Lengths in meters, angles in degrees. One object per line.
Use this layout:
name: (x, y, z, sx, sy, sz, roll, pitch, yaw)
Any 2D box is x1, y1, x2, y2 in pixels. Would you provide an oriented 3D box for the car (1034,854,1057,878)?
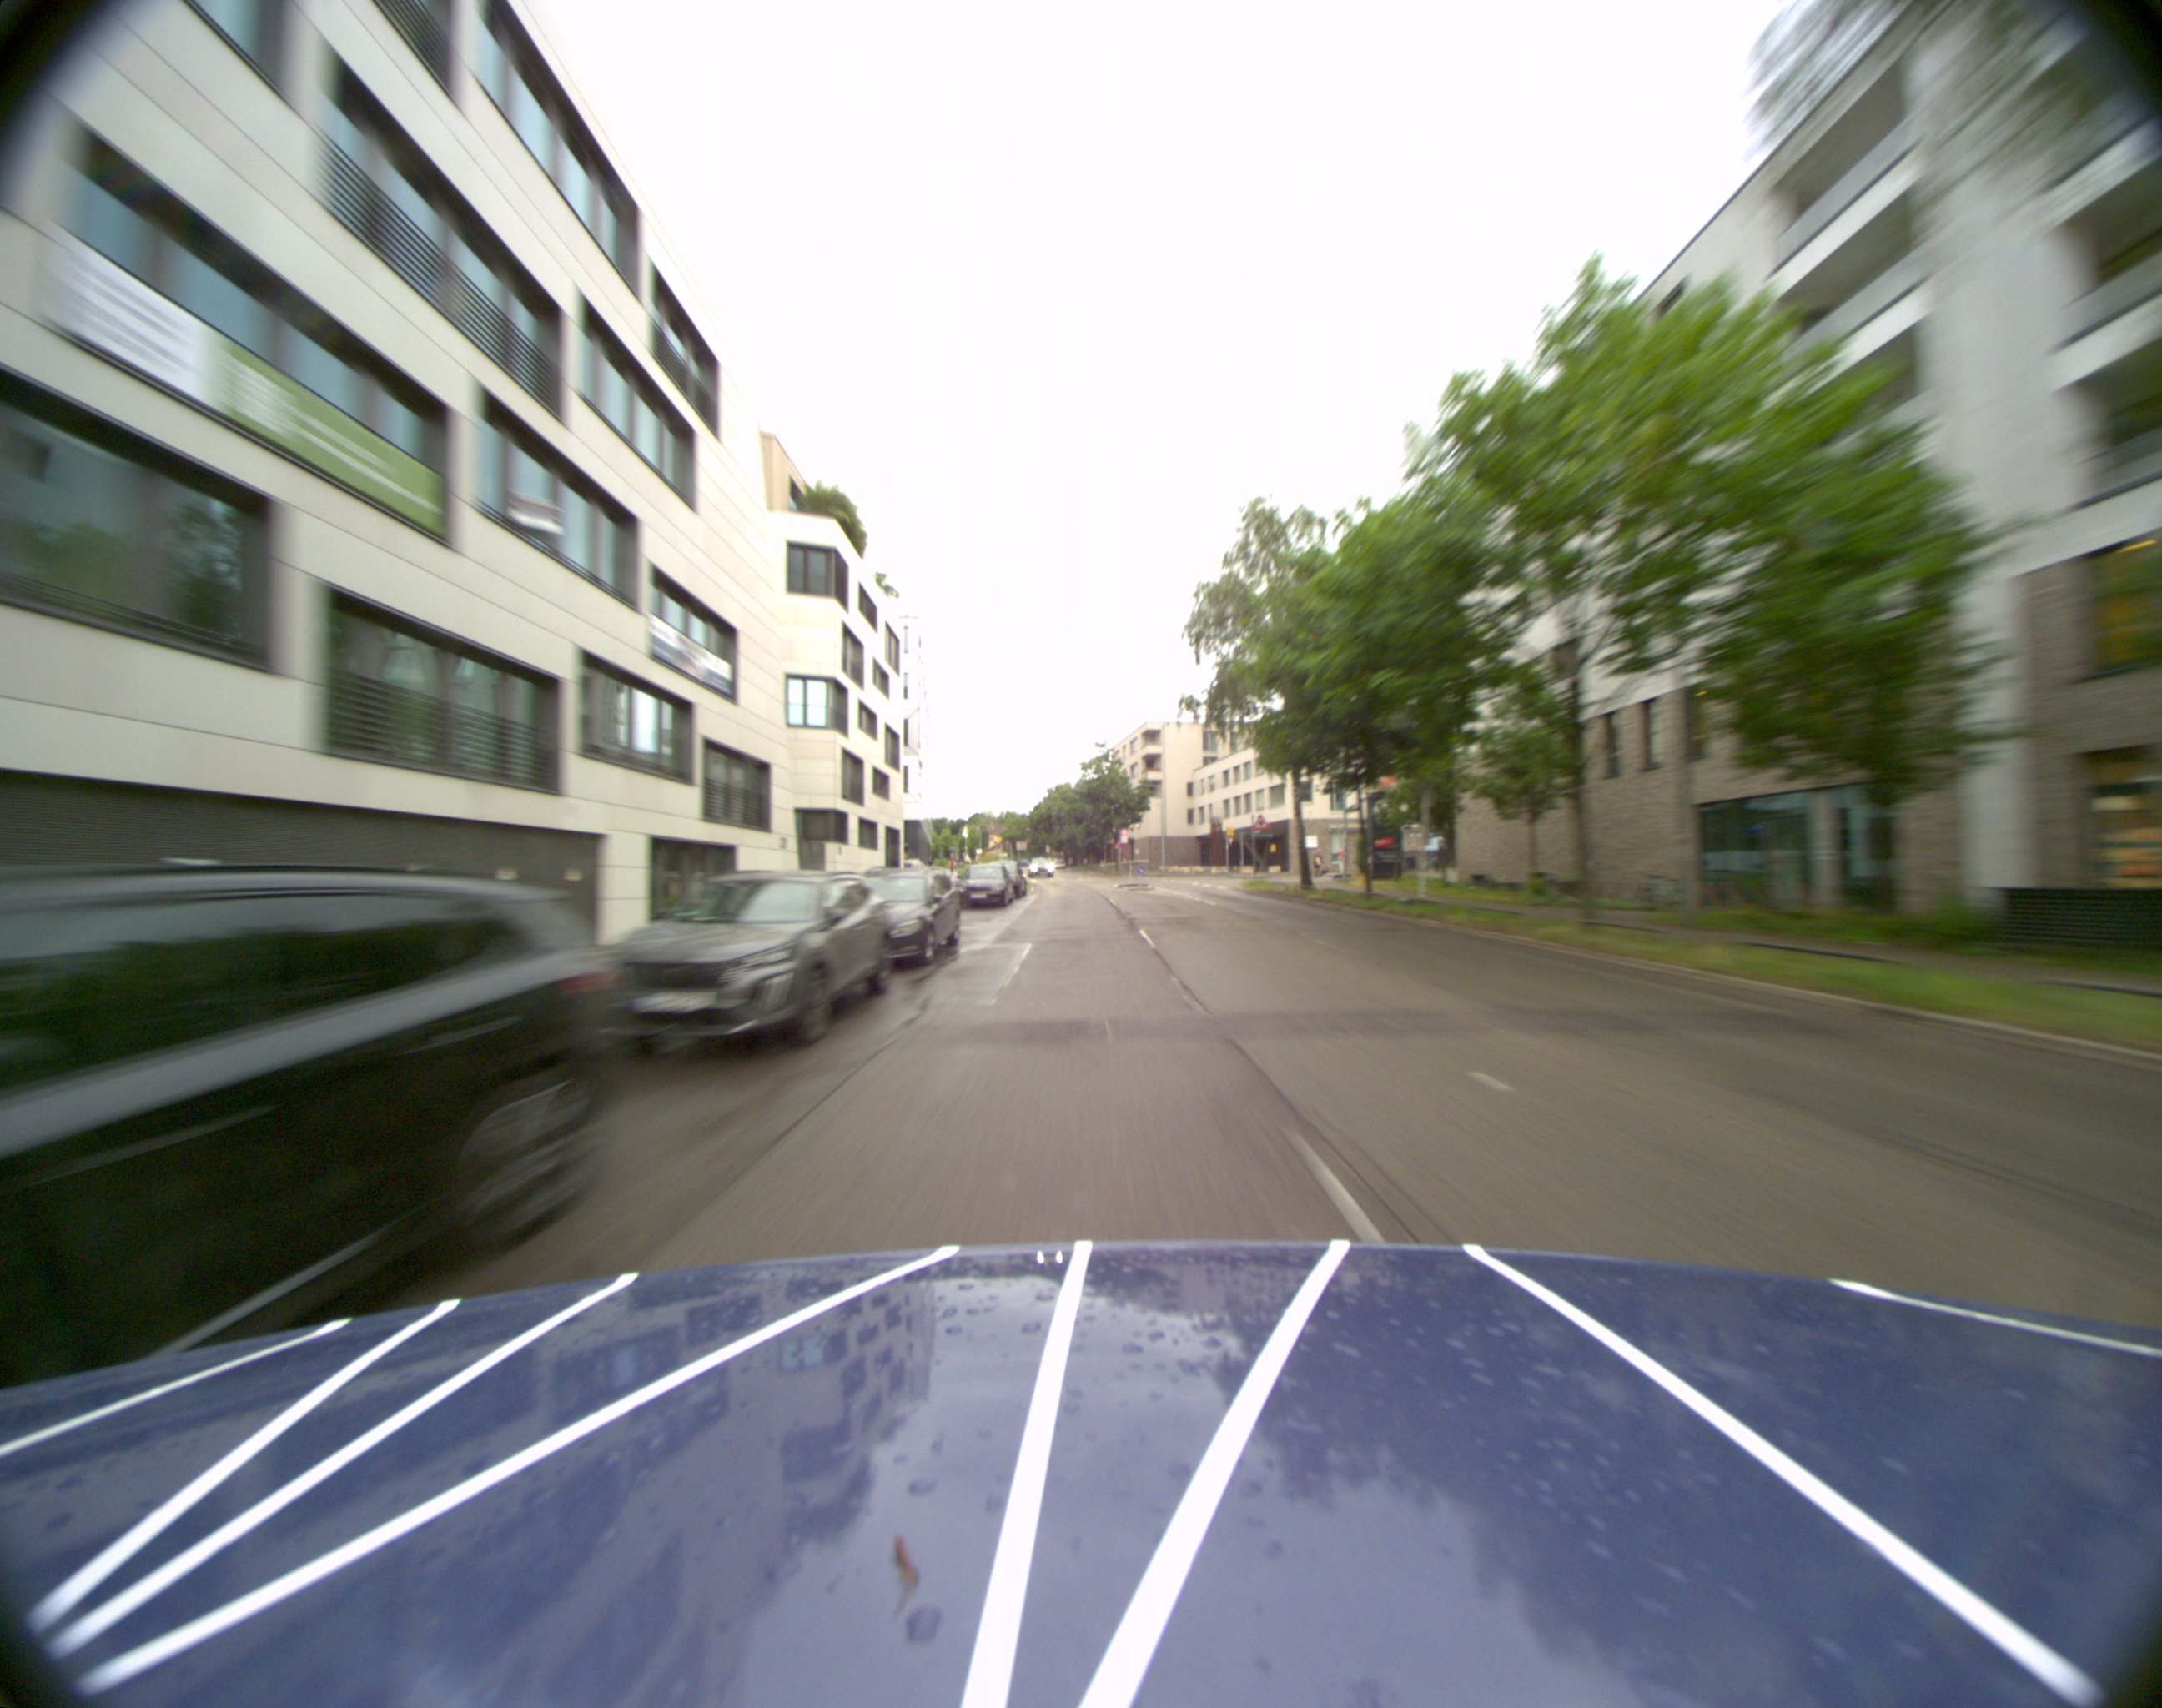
car: (-3.151, 1.055, 66.995, 1.848, 1.961, 4.341, -1, 1, -5)

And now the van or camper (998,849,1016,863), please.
van or camper: (-15.607, 0.414, 160.059, 2.350, 2.749, 6.132, -2, 0, -19)

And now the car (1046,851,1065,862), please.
car: (-3.989, 0.438, 116.786, 1.997, 1.584, 4.484, -2, 1, -13)

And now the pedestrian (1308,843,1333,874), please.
pedestrian: (15.726, 0.307, 49.966, 1.060, 2.002, 1.097, -2, 1, -29)

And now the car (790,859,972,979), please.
car: (-3.195, 0.947, 13.250, 1.812, 1.554, 4.845, -1, 1, 0)

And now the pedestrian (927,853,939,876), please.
pedestrian: (-12.022, 0.841, 61.887, 0.825, 1.785, 1.207, 0, 1, -5)

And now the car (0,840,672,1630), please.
car: (-3.207, 0.830, 1.848, 1.812, 1.669, 4.712, -1, 0, 0)

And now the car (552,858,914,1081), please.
car: (-3.165, 0.910, 8.055, 1.753, 1.596, 4.373, -1, 1, 0)

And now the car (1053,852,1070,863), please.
car: (-2.885, 0.474, 111.901, 1.886, 1.454, 3.842, -2, 1, -13)

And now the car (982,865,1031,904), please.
car: (-3.056, 1.237, 31.614, 1.550, 1.470, 3.661, -1, 0, 2)

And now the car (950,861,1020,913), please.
car: (-3.224, 1.065, 26.322, 1.812, 1.476, 4.494, -1, 1, 0)
